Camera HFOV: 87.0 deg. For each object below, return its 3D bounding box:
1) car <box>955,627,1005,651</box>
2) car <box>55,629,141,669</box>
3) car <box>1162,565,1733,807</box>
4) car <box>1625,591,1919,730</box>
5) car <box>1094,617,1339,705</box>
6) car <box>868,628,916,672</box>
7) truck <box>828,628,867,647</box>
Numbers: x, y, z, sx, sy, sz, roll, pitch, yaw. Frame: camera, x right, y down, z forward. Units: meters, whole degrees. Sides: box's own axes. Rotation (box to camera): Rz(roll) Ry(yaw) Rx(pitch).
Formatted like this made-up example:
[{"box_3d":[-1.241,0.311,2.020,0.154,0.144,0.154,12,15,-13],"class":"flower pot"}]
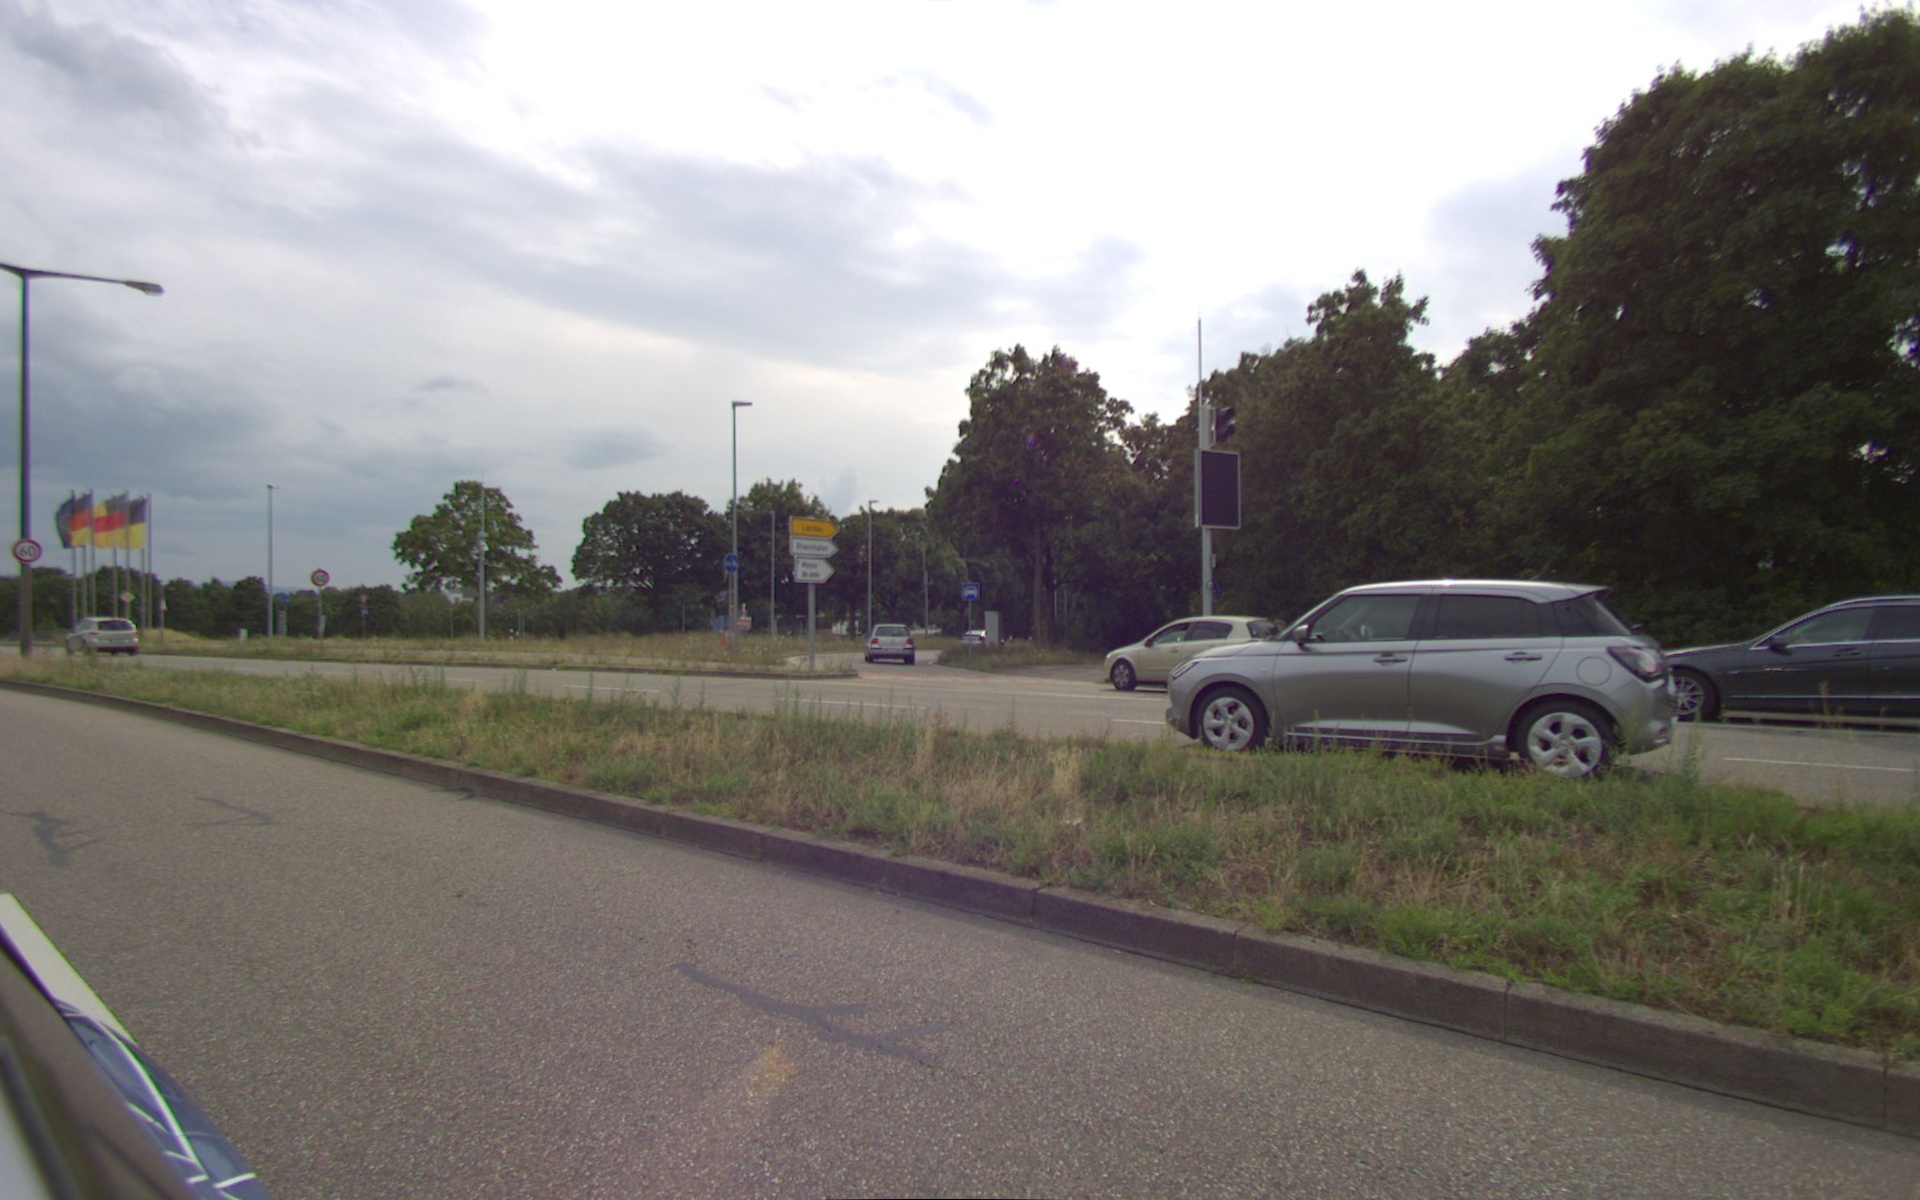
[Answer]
[{"box_3d":[1.341,2.490,65.503,1.739,1.457,4.428,-2,-2,22],"class":"car"},{"box_3d":[-36.953,2.113,43.355,4.554,1.610,1.730,-2,-2,35],"class":"car"},{"box_3d":[3.773,0.570,8.154,3.856,1.498,1.678,-2,-1,39],"class":"car"},{"box_3d":[10.298,0.654,11.329,1.646,1.436,4.523,2,-2,-43],"class":"car"},{"box_3d":[4.646,1.053,18.910,1.644,1.430,4.322,0,-1,-38],"class":"car"},{"box_3d":[-2.480,1.774,37.121,1.646,1.430,4.095,-1,-1,-3],"class":"car"},{"box_3d":[-27.436,9.086,248.059,3.010,4.376,13.900,-2,-1,22],"class":"truck"}]
